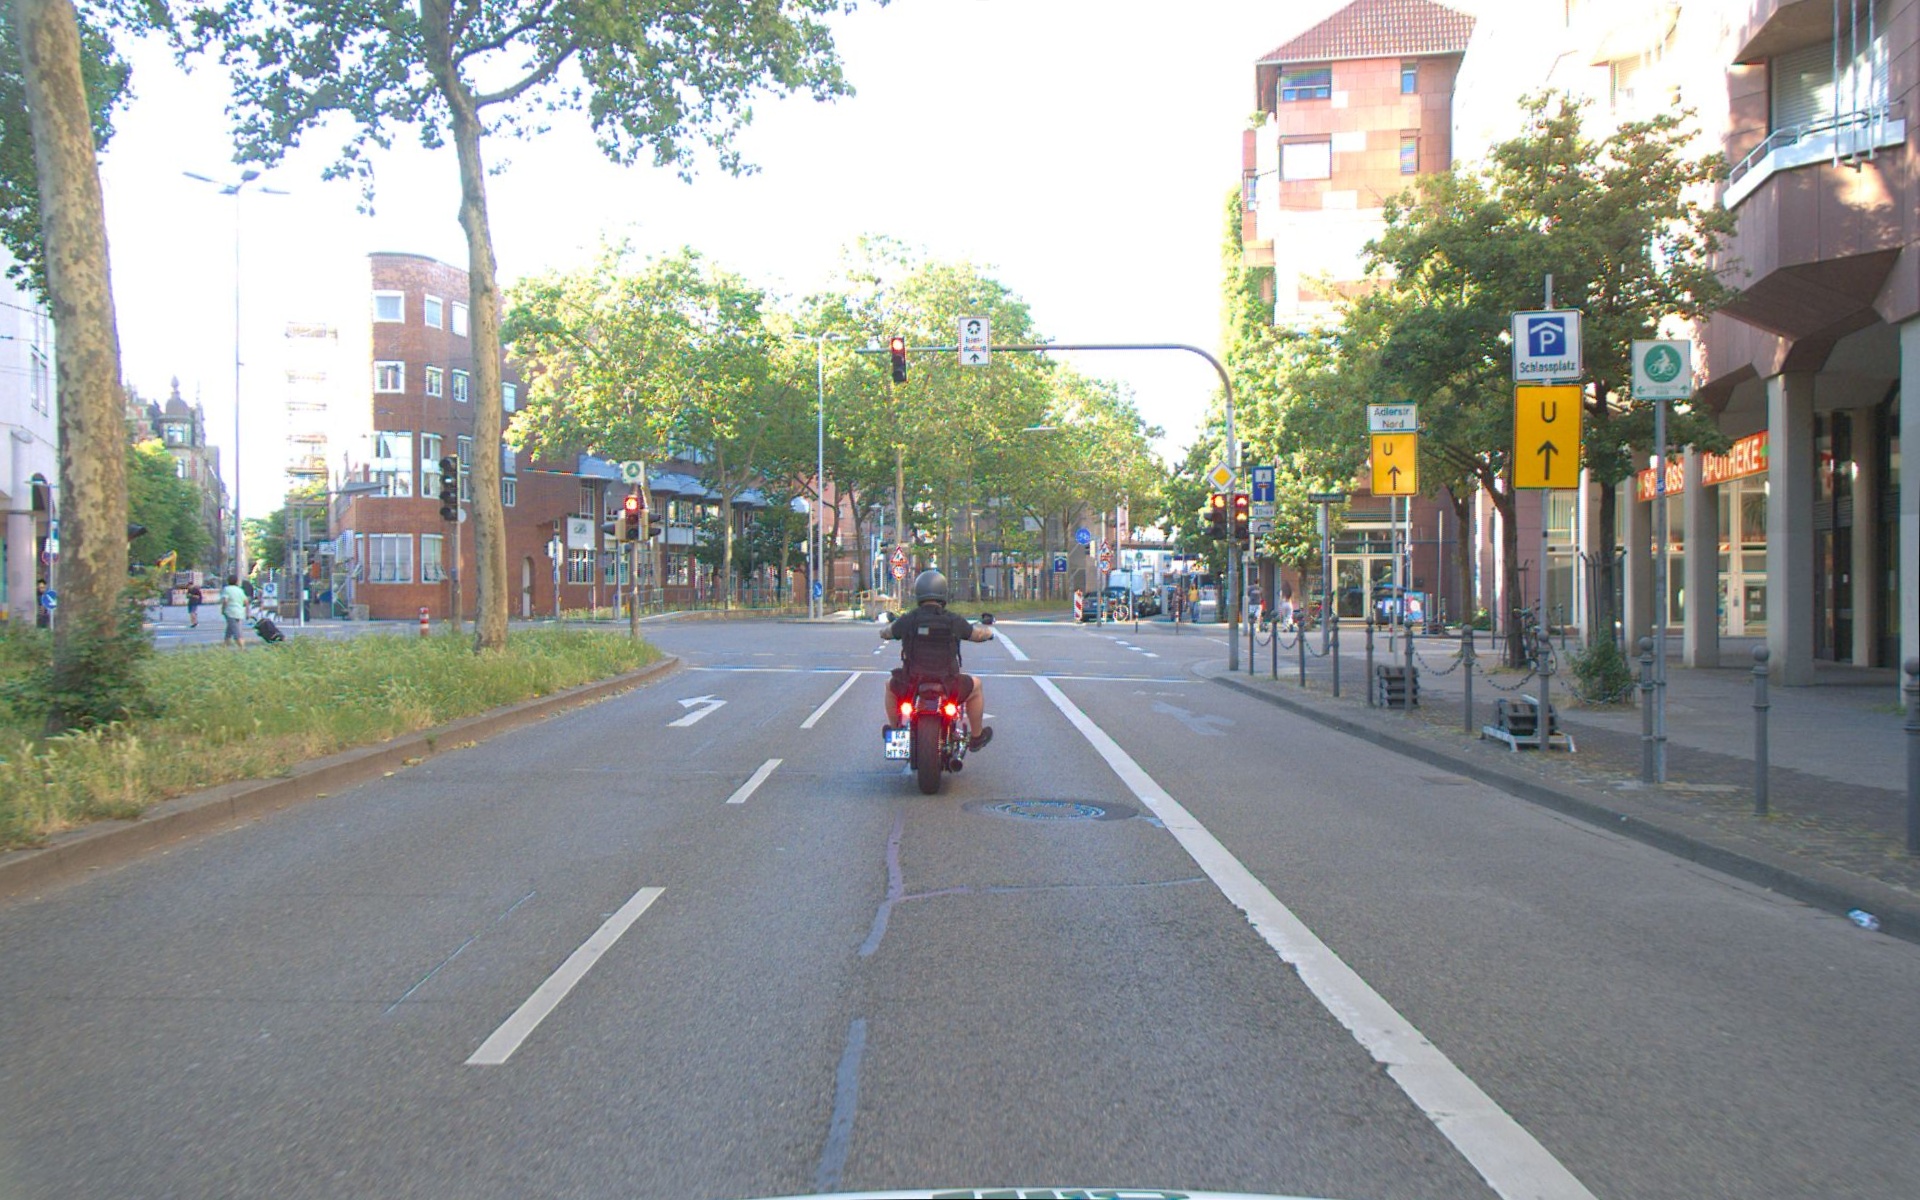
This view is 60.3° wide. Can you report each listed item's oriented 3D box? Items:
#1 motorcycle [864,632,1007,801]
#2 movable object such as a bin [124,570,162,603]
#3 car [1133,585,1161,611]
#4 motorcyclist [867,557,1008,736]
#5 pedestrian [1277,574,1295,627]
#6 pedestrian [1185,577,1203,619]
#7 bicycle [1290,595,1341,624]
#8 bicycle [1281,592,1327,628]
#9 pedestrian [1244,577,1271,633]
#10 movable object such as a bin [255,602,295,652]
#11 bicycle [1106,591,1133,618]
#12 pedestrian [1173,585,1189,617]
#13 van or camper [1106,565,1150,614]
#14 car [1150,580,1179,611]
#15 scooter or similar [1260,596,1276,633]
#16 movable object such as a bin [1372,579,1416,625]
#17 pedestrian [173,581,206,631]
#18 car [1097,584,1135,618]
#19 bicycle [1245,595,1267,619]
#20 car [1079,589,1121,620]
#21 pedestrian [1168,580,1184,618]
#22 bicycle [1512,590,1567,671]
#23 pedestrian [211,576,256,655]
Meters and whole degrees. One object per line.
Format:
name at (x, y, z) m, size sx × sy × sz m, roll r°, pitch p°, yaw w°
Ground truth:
motorcycle at (-0.161, 0.834, 12.573) m, size 0.997 × 1.116 × 2.008 m, roll 0°, pitch 1°, yaw 0°
movable object such as a bin at (-58.926, -0.993, 119.353) m, size 1.894 × 2.351 × 2.778 m, roll 0°, pitch 0°, yaw -14°
car at (11.688, -0.132, 103.366) m, size 1.585 × 1.638 × 3.777 m, roll 0°, pitch 0°, yaw 8°
motorcyclist at (-0.163, 0.335, 12.554) m, size 0.991 × 1.285 × 0.774 m, roll 2°, pitch 1°, yaw 0°
pedestrian at (10.541, 0.011, 53.429) m, size 0.450 × 1.702 × 0.680 m, roll 0°, pitch 0°, yaw 0°
pedestrian at (9.914, -0.096, 70.011) m, size 0.685 × 1.764 × 0.768 m, roll 0°, pitch 0°, yaw 4°
bicycle at (13.119, 0.345, 60.981) m, size 1.713 × 1.071 × 0.738 m, roll 0°, pitch 0°, yaw 28°
bicycle at (12.077, 0.360, 58.035) m, size 1.534 × 1.248 × 0.578 m, roll 0°, pitch 0°, yaw 6°
pedestrian at (9.598, 0.165, 53.429) m, size 0.769 × 1.794 × 0.610 m, roll 0°, pitch 0°, yaw 0°
movable object such as a bin at (-13.486, 0.530, 32.567) m, size 0.499 × 0.970 × 0.540 m, roll 0°, pitch 0°, yaw 13°
bicycle at (6.459, 0.164, 67.058) m, size 0.723 × 1.071 × 1.749 m, roll 0°, pitch 0°, yaw -9°
pedestrian at (11.650, 0.042, 87.166) m, size 0.746 × 1.673 × 0.547 m, roll 0°, pitch 0°, yaw 3°
van or camper at (9.219, -0.552, 90.406) m, size 2.005 × 2.585 × 5.778 m, roll 0°, pitch 0°, yaw 10°
car at (14.183, -0.327, 114.549) m, size 1.796 × 2.049 × 4.392 m, roll 0°, pitch 0°, yaw 9°
scooter or similar at (9.968, 0.449, 53.549) m, size 0.386 × 1.178 × 1.250 m, roll 0°, pitch 0°, yaw 6°
movable object such as a bin at (14.504, 0.062, 55.355) m, size 1.380 × 1.508 × 0.872 m, roll 0°, pitch 0°, yaw 12°
pedestrian at (-29.530, 0.209, 63.378) m, size 0.837 × 1.902 × 0.753 m, roll -1°, pitch 0°, yaw 7°
car at (7.947, 0.043, 83.880) m, size 1.585 × 1.647 × 4.489 m, roll 0°, pitch 0°, yaw 9°
bicycle at (11.862, 0.268, 66.294) m, size 0.721 × 0.956 × 1.753 m, roll 0°, pitch 1°, yaw 4°
car at (6.306, 0.182, 74.075) m, size 1.585 × 1.325 × 4.315 m, roll 0°, pitch 0°, yaw 9°
pedestrian at (9.176, -0.044, 70.238) m, size 0.630 × 1.606 × 0.748 m, roll 0°, pitch 0°, yaw 4°
bicycle at (9.361, 0.474, 26.768) m, size 0.608 × 1.247 × 1.928 m, roll 0°, pitch 1°, yaw 12°
pedestrian at (-14.189, 0.297, 32.304) m, size 0.605 × 1.530 × 0.535 m, roll 0°, pitch 0°, yaw 12°
